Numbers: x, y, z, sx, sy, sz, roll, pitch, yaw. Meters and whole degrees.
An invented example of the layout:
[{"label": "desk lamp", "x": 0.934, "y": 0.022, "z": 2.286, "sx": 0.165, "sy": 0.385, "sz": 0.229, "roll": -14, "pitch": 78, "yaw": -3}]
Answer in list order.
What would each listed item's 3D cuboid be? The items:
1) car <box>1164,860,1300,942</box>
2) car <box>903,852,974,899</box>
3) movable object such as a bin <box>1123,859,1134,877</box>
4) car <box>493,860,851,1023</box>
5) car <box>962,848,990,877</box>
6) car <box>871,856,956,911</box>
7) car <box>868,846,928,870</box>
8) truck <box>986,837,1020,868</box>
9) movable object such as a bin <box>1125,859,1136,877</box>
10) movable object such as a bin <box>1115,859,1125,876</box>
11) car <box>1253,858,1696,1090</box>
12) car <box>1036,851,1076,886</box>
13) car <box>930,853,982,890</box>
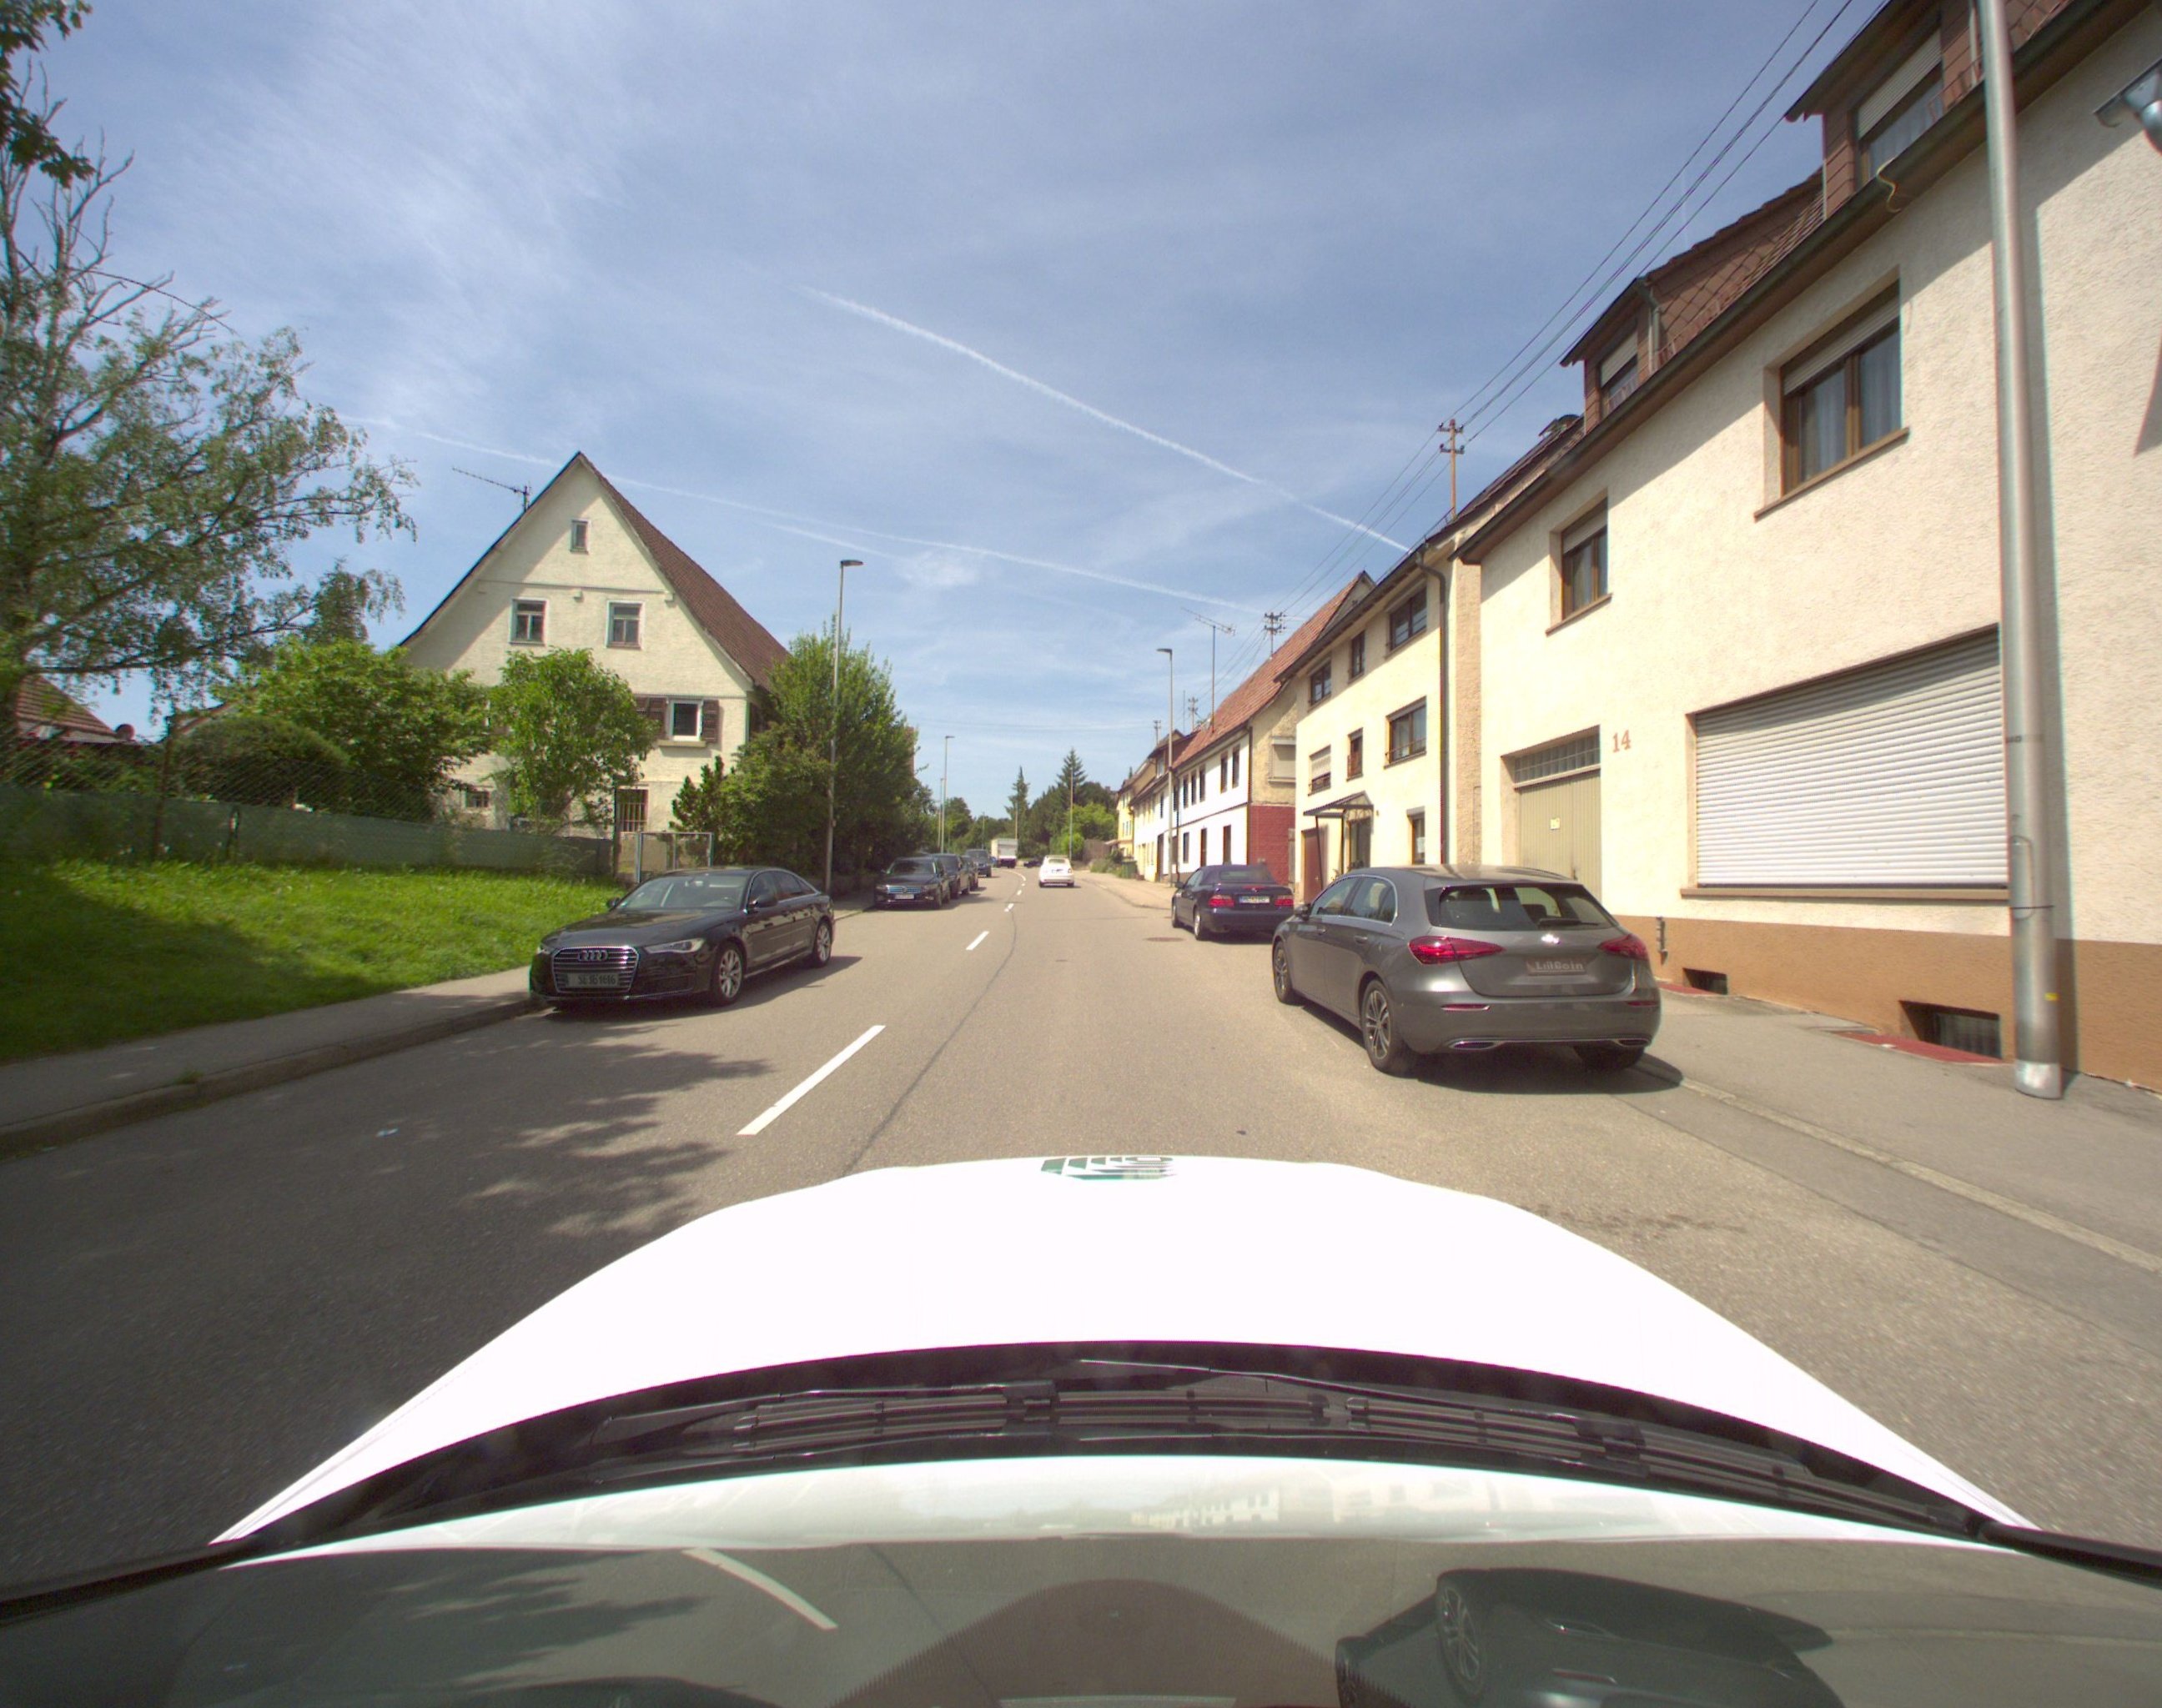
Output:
[{"label": "car", "x": 2.789, "y": 0.820, "z": 15.952, "sx": 1.662, "sy": 1.352, "sz": 4.182, "roll": 1, "pitch": 0, "yaw": -3}, {"label": "car", "x": -5.018, "y": 0.694, "z": 29.210, "sx": 1.749, "sy": 1.521, "sz": 4.299, "roll": 1, "pitch": 0, "yaw": 0}, {"label": "movable object such as a bin", "x": 2.835, "y": 0.834, "z": 48.285, "sx": 0.545, "sy": 1.033, "sz": 0.550, "roll": -2, "pitch": 0, "yaw": -5}, {"label": "car", "x": -4.483, "y": 0.826, "z": 9.993, "sx": 1.798, "sy": 1.423, "sz": 4.929, "roll": 0, "pitch": 0, "yaw": 1}, {"label": "car", "x": -7.337, "y": 0.563, "z": 56.859, "sx": 1.889, "sy": 1.937, "sz": 4.972, "roll": 0, "pitch": -1, "yaw": -8}, {"label": "car", "x": -4.878, "y": 0.804, "z": 24.332, "sx": 1.785, "sy": 1.463, "sz": 4.706, "roll": 0, "pitch": 0, "yaw": -3}, {"label": "car", "x": -13.828, "y": 0.316, "z": 61.702, "sx": 4.233, "sy": 1.405, "sz": 1.813, "roll": 5, "pitch": -1, "yaw": -13}, {"label": "truck", "x": -10.043, "y": -0.113, "z": 103.588, "sx": 3.073, "sy": 3.774, "sz": 7.828, "roll": 1, "pitch": -1, "yaw": -15}, {"label": "movable object such as a bin", "x": 2.898, "y": 0.836, "z": 47.703, "sx": 0.545, "sy": 1.033, "sz": 0.550, "roll": -2, "pitch": 0, "yaw": -5}, {"label": "movable object such as a bin", "x": 2.375, "y": 0.826, "z": 49.604, "sx": 0.545, "sy": 1.033, "sz": 0.550, "roll": -2, "pitch": 0, "yaw": -5}, {"label": "car", "x": 2.889, "y": 0.747, "z": 7.219, "sx": 1.788, "sy": 1.403, "sz": 4.410, "roll": 0, "pitch": 0, "yaw": 0}, {"label": "car", "x": -1.260, "y": 0.687, "z": 39.390, "sx": 1.722, "sy": 1.560, "sz": 3.992, "roll": -1, "pitch": 0, "yaw": -5}, {"label": "car", "x": -5.295, "y": 0.691, "z": 34.880, "sx": 1.816, "sy": 1.473, "sz": 4.768, "roll": 1, "pitch": 0, "yaw": -4}]
